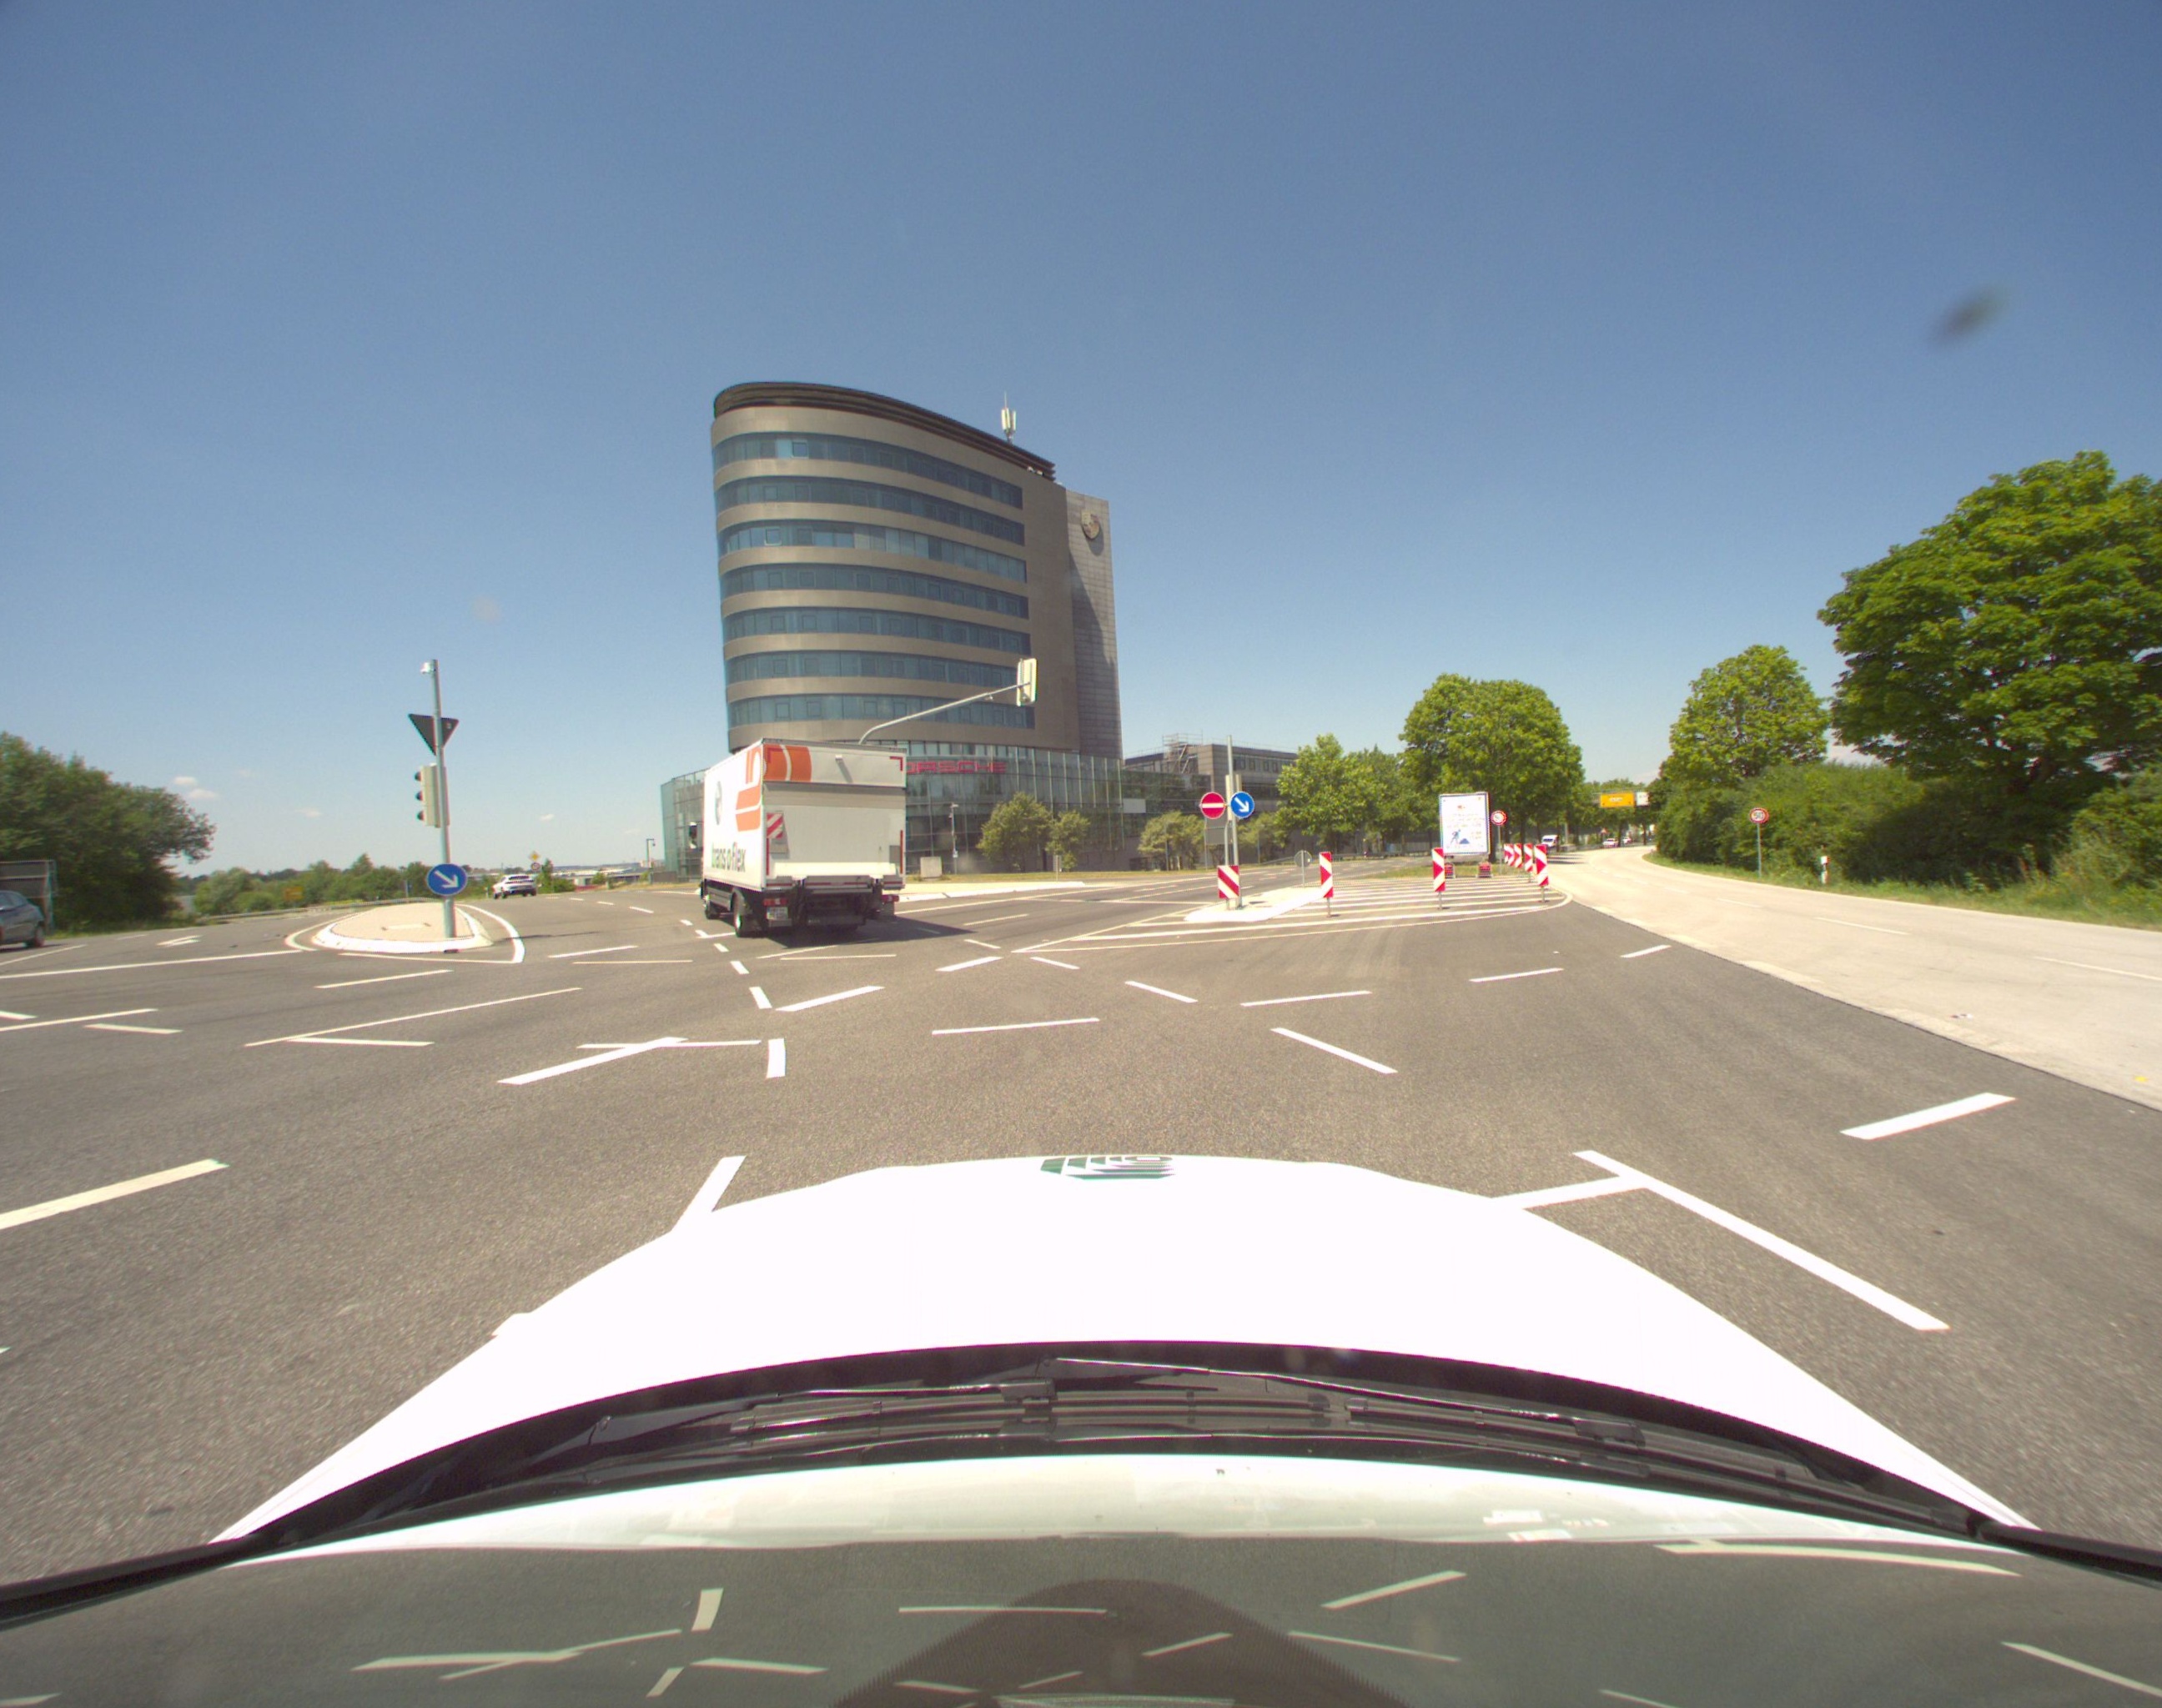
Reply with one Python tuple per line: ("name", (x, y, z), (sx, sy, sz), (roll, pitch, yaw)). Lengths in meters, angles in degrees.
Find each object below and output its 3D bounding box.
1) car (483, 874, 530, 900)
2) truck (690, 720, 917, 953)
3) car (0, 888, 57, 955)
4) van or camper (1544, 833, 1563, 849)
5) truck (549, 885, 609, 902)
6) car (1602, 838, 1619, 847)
("car", (-37.351, 2.142, 52.929), (3.950, 1.557, 1.819), (-2, 0, 45))
("truck", (-6.635, -0.246, 18.154), (2.788, 3.859, 9.276), (-1, 0, -31))
("car", (-25.667, 1.611, 18.835), (1.706, 1.456, 4.277), (-1, -2, -41))
("van or camper", (79.843, -2.197, 137.545), (1.975, 2.682, 4.025), (-2, 0, 42))
("truck", (-105.739, 8.325, 171.756), (10.388, 3.219, 2.442), (-1, 0, -17))
("car", (98.541, -2.106, 151.525), (4.023, 1.662, 1.716), (-1, 0, -44))
